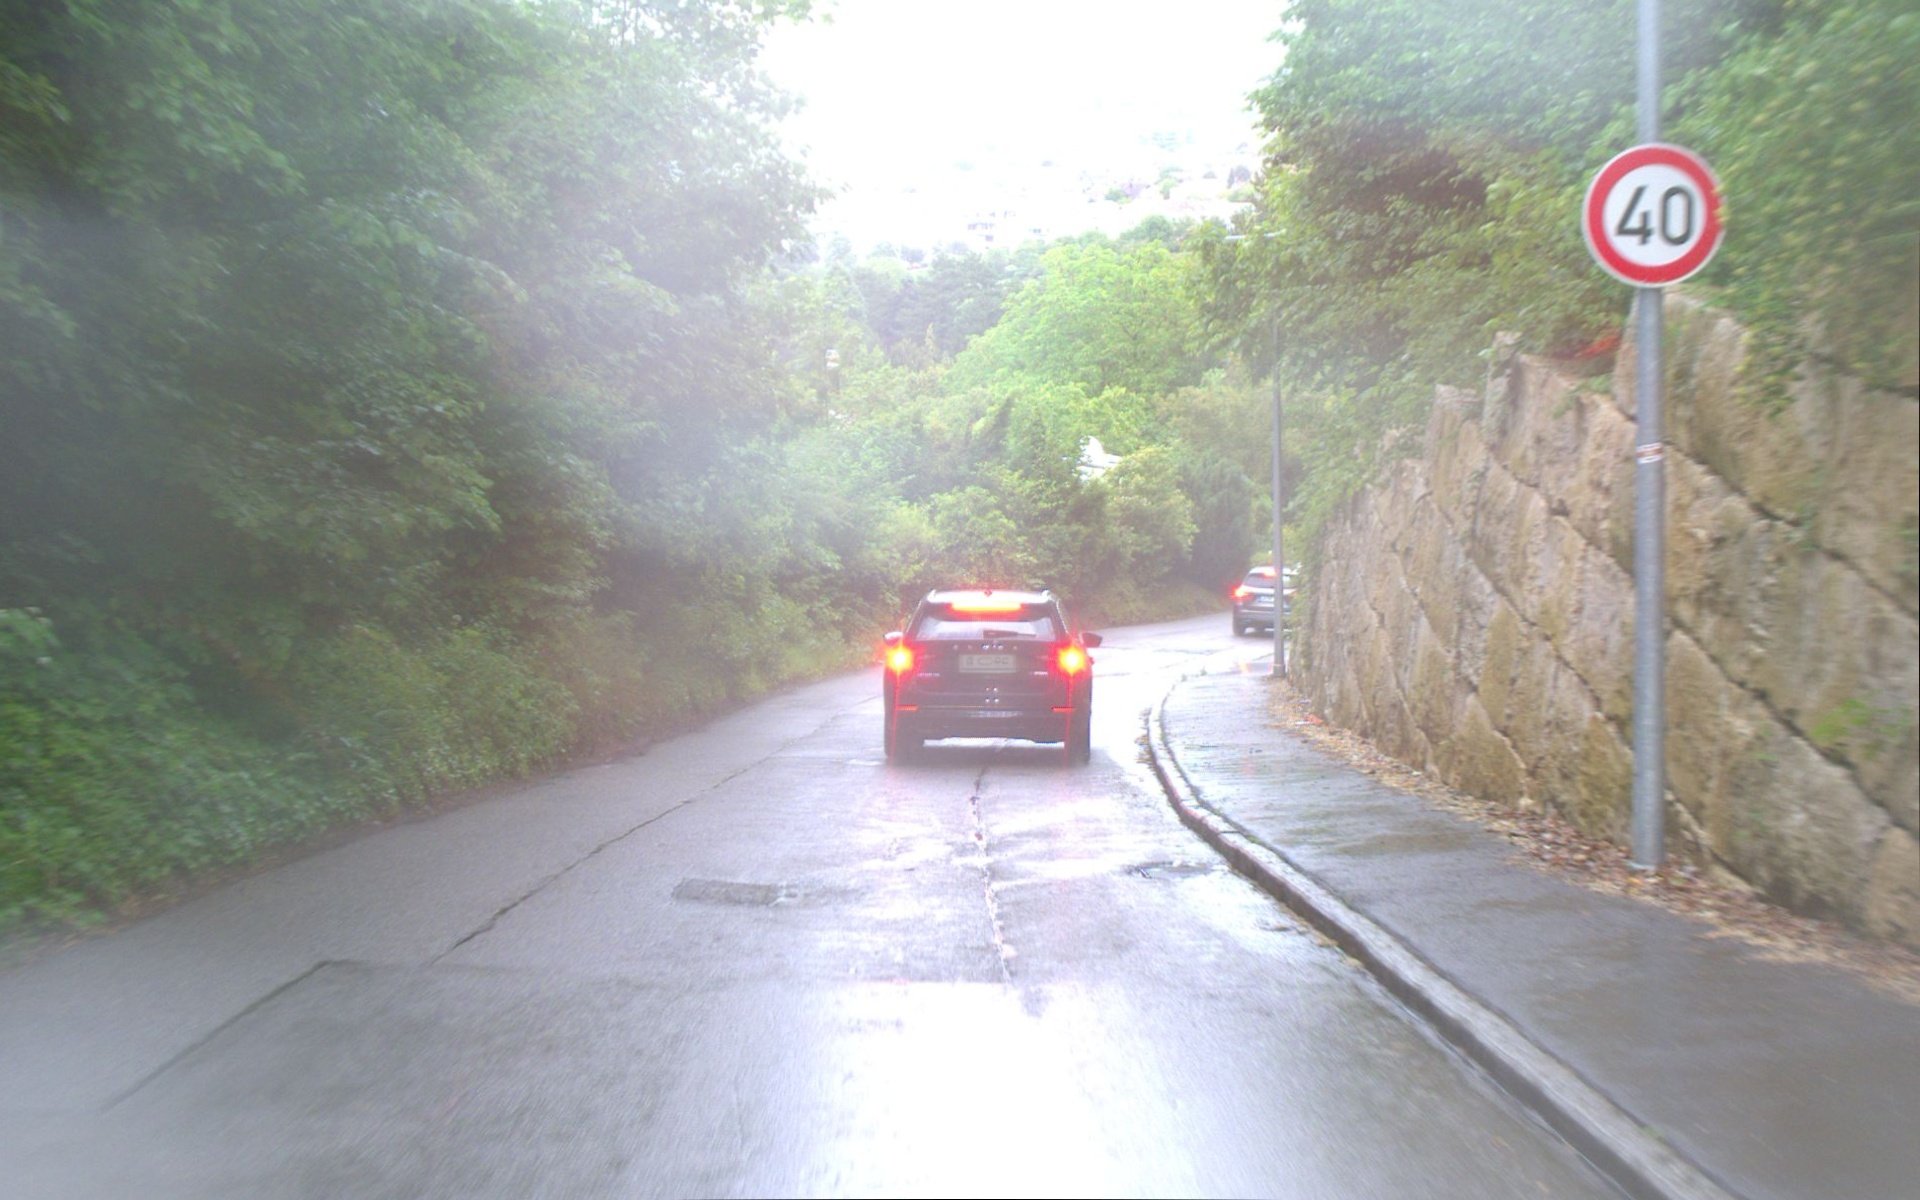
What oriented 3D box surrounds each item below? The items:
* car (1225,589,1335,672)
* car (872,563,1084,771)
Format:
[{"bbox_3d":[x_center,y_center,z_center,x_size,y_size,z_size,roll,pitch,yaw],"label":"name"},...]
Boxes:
[{"bbox_3d":[7.191,0.661,76.864,1.864,1.737,3.998,2,0,13],"label":"car"},{"bbox_3d":[0.099,0.526,30.140,1.699,1.445,4.001,0,4,-2],"label":"car"}]
